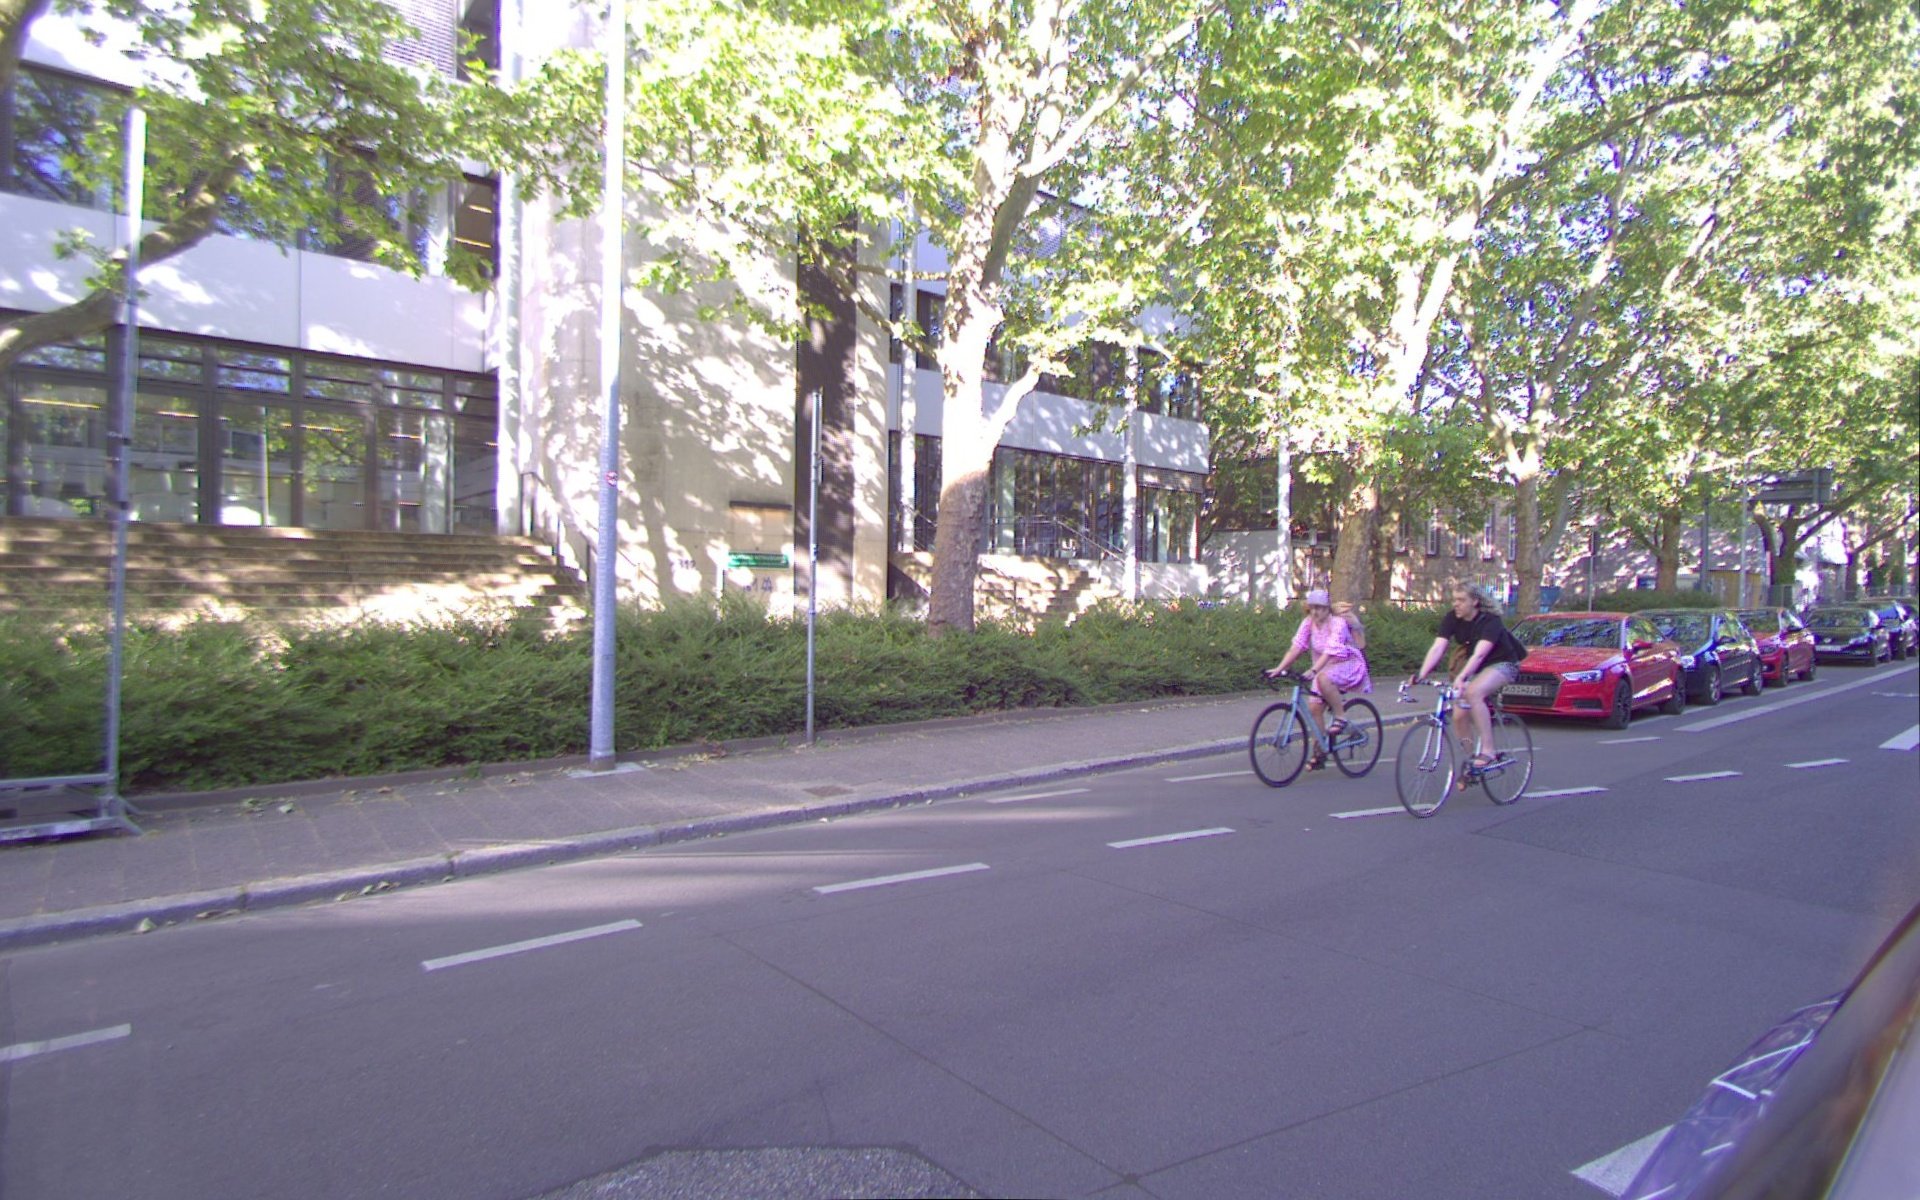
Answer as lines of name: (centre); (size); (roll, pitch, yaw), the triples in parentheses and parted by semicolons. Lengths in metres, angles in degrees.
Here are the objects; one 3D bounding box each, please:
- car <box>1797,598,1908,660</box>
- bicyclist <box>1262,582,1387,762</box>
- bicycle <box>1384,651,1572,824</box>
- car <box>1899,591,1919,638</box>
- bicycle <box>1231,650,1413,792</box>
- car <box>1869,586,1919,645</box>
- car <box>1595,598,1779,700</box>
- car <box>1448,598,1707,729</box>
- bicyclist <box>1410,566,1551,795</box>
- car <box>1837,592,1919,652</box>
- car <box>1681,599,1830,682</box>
car: (22.904, 0.696, 25.937); (3.674, 1.483, 1.634); (0, -1, -41)
bicyclist: (3.065, 0.568, 8.490); (0.915, 1.420, 0.601); (0, -1, -41)
bicycle: (3.779, 0.924, 7.325); (1.701, 1.039, 0.611); (0, -1, -41)
car: (35.910, 0.529, 37.205); (3.777, 1.675, 1.634); (0, -1, -41)
bicycle: (3.065, 0.953, 8.474); (1.848, 0.997, 0.601); (0, -1, -41)
car: (30.998, 0.474, 32.913); (3.777, 1.828, 1.634); (0, -1, -41)
car: (11.961, 0.718, 16.582); (3.674, 1.483, 1.634); (0, -1, -41)
car: (8.323, 0.723, 13.515); (4.053, 1.483, 1.802); (0, -1, -41)
bicyclist: (3.766, 0.542, 7.316); (0.874, 1.535, 0.611); (0, -1, -41)
car: (26.583, 0.583, 29.011); (3.777, 1.607, 1.634); (0, -1, -41)
car: (15.718, 0.724, 19.935); (3.674, 1.483, 1.634); (0, -1, -41)
